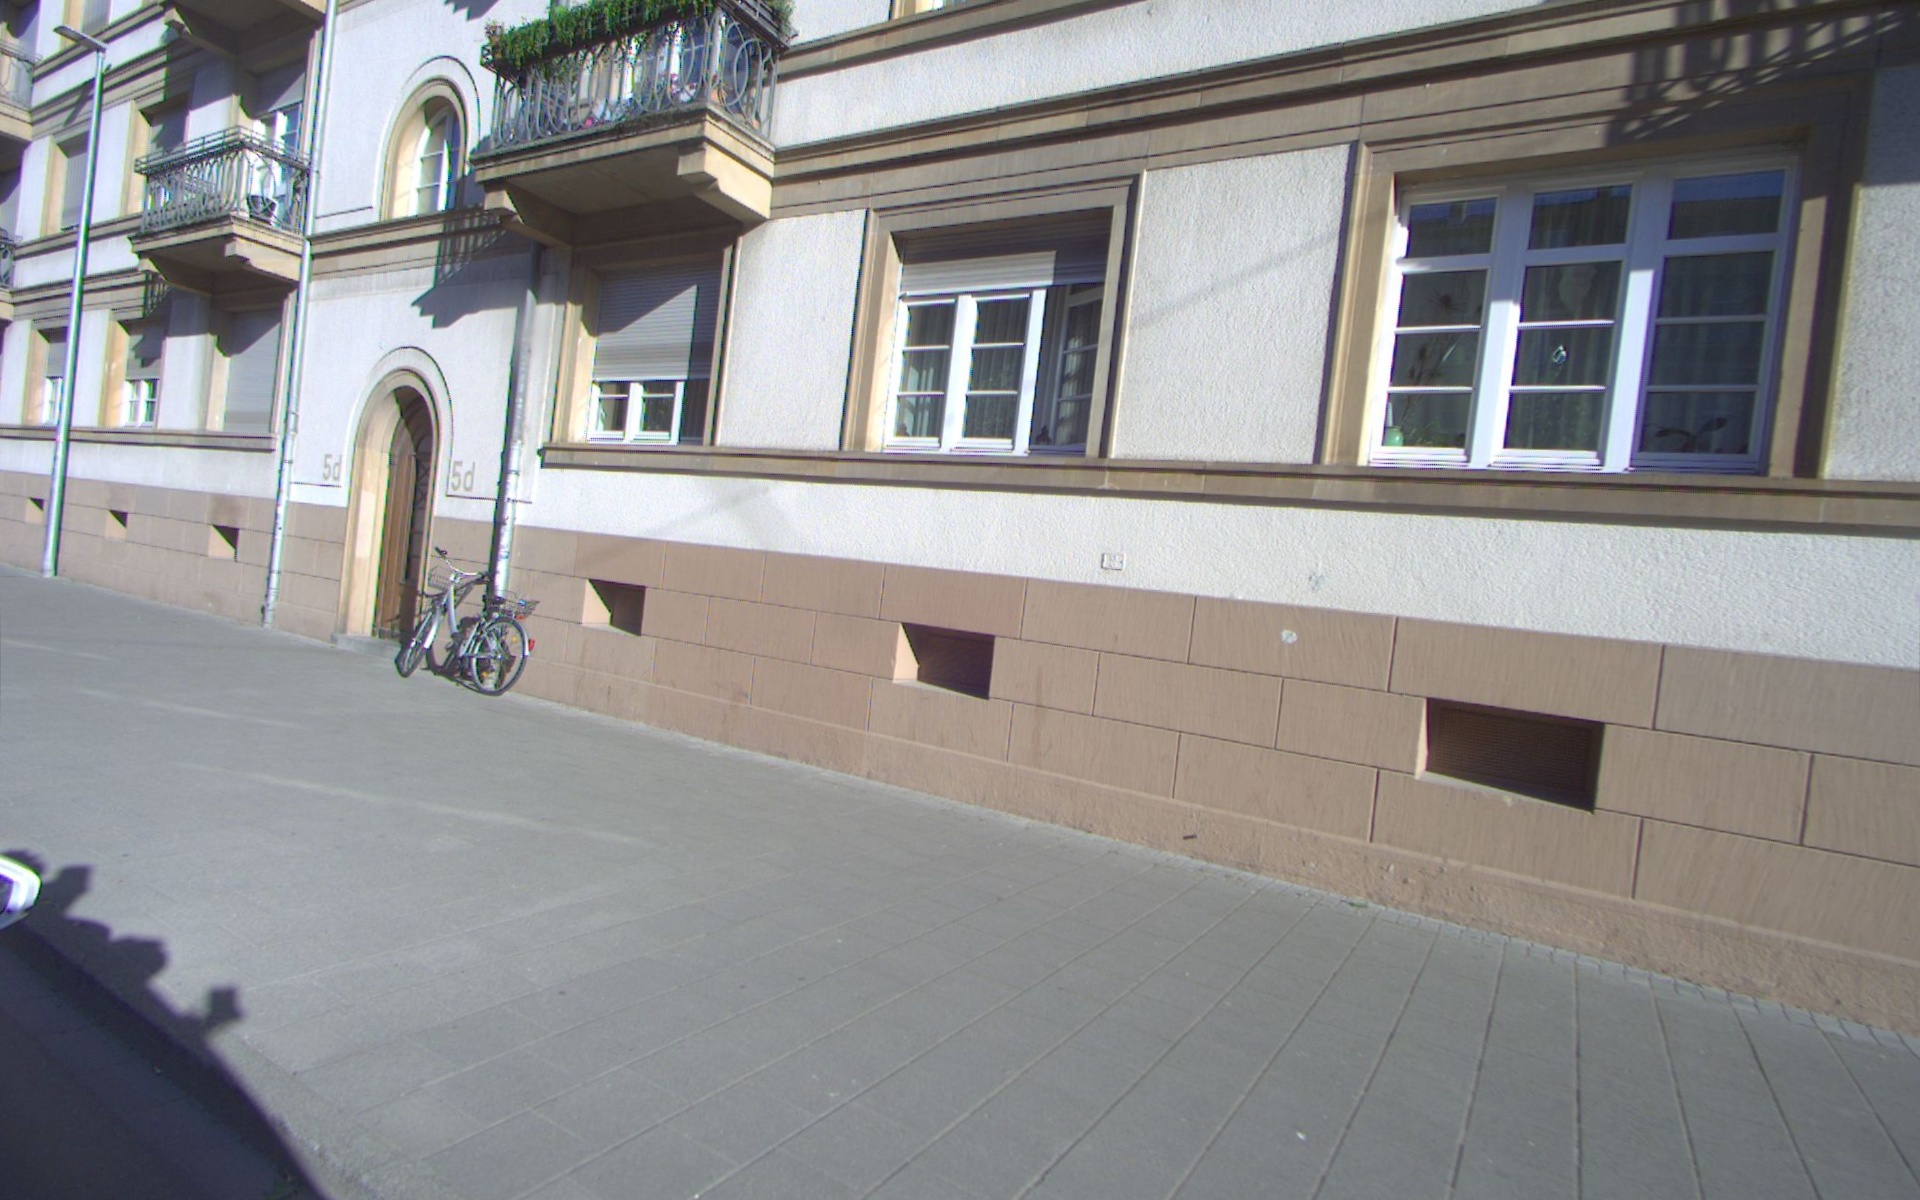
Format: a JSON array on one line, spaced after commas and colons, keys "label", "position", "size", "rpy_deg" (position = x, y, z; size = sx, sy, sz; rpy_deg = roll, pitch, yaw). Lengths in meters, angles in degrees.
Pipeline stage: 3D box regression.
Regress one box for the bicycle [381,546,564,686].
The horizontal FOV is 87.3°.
[{"label": "bicycle", "position": [-4.754, 0.127, 9.730], "size": [2.162, 1.109, 0.418], "rpy_deg": [7, 1, 32]}]
